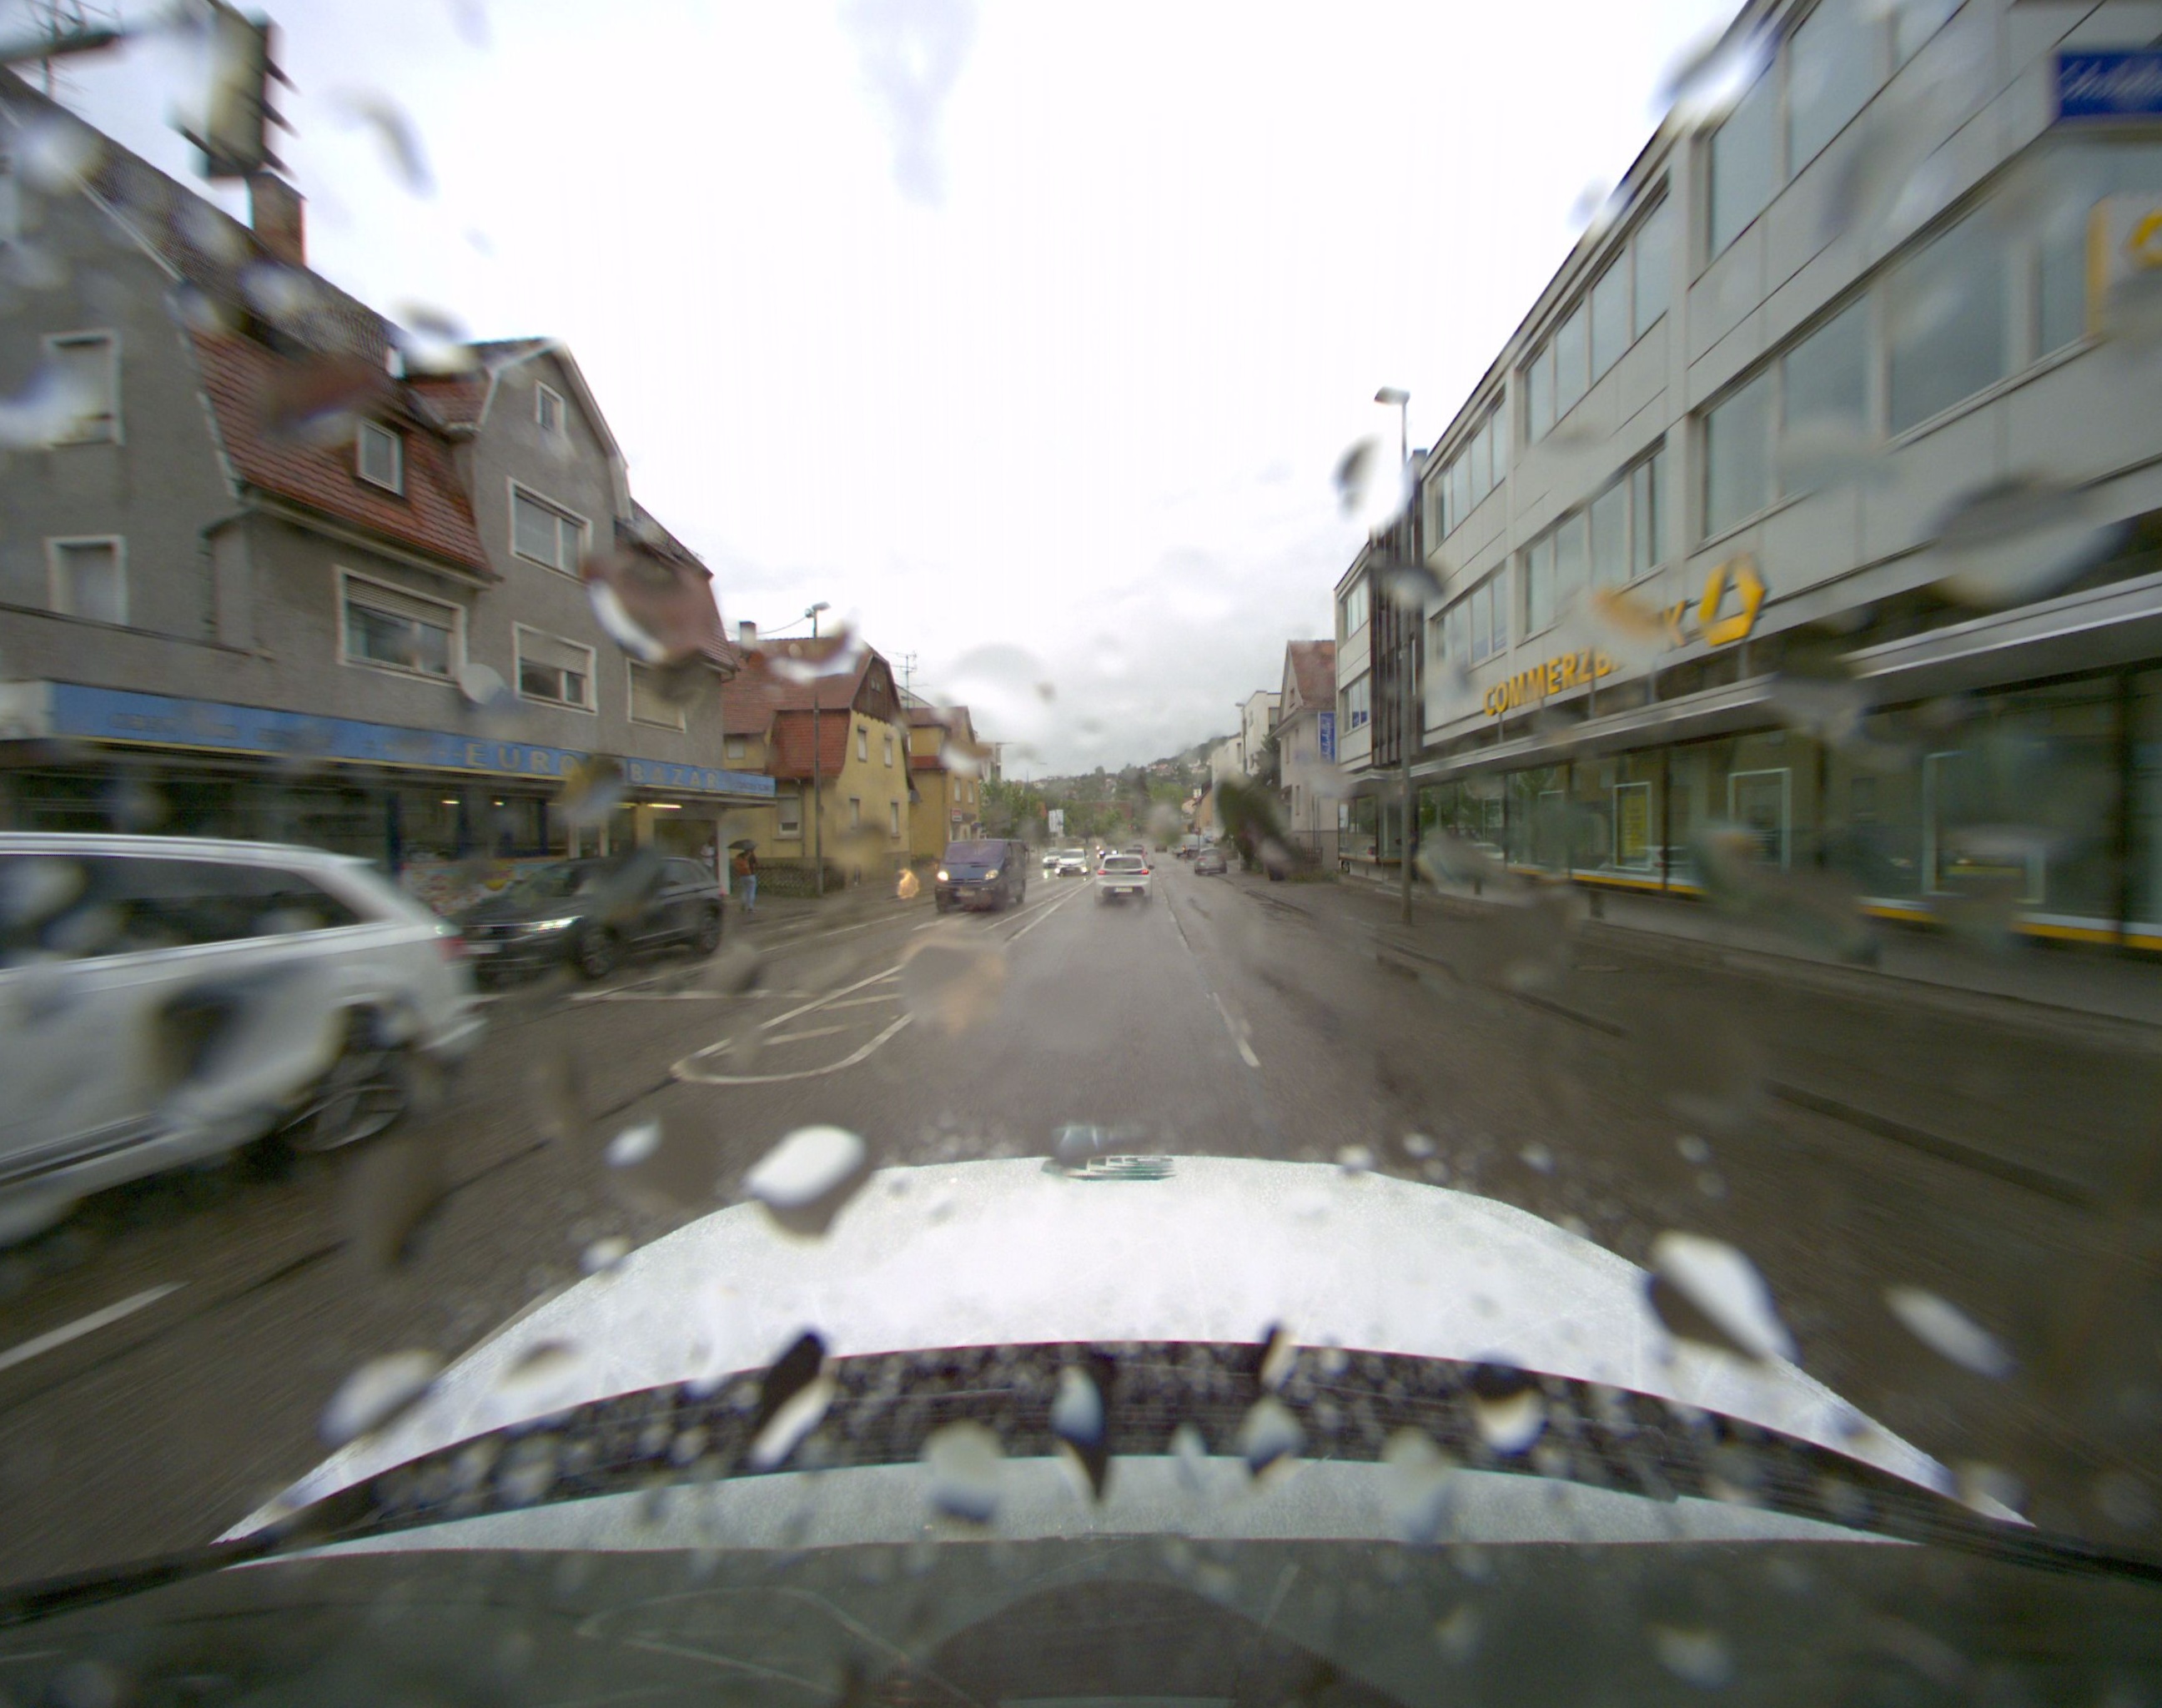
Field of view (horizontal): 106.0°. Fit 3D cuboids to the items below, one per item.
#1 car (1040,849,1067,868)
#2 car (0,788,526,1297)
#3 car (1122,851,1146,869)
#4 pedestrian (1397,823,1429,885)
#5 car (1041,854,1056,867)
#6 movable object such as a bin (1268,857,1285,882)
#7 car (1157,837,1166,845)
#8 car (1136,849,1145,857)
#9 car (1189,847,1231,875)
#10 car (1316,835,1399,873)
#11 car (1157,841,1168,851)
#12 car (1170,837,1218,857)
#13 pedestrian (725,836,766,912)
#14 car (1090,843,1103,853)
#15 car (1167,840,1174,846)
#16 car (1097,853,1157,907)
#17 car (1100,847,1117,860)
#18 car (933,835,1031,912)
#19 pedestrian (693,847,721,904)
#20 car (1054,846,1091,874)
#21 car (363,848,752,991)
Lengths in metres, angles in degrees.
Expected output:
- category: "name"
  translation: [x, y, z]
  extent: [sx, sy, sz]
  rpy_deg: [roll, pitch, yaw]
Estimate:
- category: "car"
  translation: [-2.215, 0.389, 67.043]
  extent: [1.641, 1.418, 4.144]
  rpy_deg: [-4, -1, 5]
- category: "car"
  translation: [-4.699, 0.659, 2.802]
  extent: [2.090, 1.712, 4.852]
  rpy_deg: [-1, -1, 2]
- category: "car"
  translation: [4.030, 0.414, 61.529]
  extent: [1.733, 1.295, 3.338]
  rpy_deg: [-1, 0, 4]
- category: "pedestrian"
  translation: [9.814, -0.003, 24.124]
  extent: [0.724, 1.780, 0.956]
  rpy_deg: [0, 1, 12]
- category: "car"
  translation: [-3.516, 0.738, 87.559]
  extent: [1.365, 1.314, 3.043]
  rpy_deg: [-1, -1, 2]
- category: "movable object such as a bin"
  translation: [8.618, 0.667, 35.893]
  extent: [0.573, 1.048, 0.831]
  rpy_deg: [-2, 1, 4]
- category: "car"
  translation: [19.752, -3.173, 200.114]
  extent: [1.984, 2.014, 4.005]
  rpy_deg: [-1, -1, 5]
- category: "car"
  translation: [8.638, -0.117, 118.969]
  extent: [1.208, 1.156, 2.271]
  rpy_deg: [-1, -1, 2]
- category: "car"
  translation: [7.775, 0.441, 49.521]
  extent: [2.003, 1.622, 4.362]
  rpy_deg: [0, -2, 2]
- category: "car"
  translation: [11.941, 0.036, 35.342]
  extent: [1.359, 1.502, 3.308]
  rpy_deg: [-4, 1, -29]
- category: "car"
  translation: [13.205, -1.248, 132.142]
  extent: [1.726, 1.387, 3.357]
  rpy_deg: [0, 4, 3]
- category: "car"
  translation: [13.981, -0.842, 100.289]
  extent: [6.663, 2.382, 2.270]
  rpy_deg: [-1, -1, -44]
- category: "pedestrian"
  translation: [-8.715, 0.520, 21.177]
  extent: [0.659, 1.921, 0.945]
  rpy_deg: [1, -1, -4]
- category: "car"
  translation: [2.559, -0.964, 134.002]
  extent: [1.872, 1.524, 4.189]
  rpy_deg: [-1, -1, 4]
- category: "car"
  translation: [19.506, -2.383, 178.105]
  extent: [1.378, 1.126, 2.613]
  rpy_deg: [-1, -1, 5]
- category: "car"
  translation: [1.415, 0.775, 25.139]
  extent: [1.684, 1.519, 3.936]
  rpy_deg: [-1, -1, 3]
- category: "car"
  translation: [3.224, 0.008, 95.057]
  extent: [1.760, 1.413, 4.530]
  rpy_deg: [-1, -1, 4]
- category: "car"
  translation: [-2.700, 0.535, 23.564]
  extent: [1.958, 1.938, 5.182]
  rpy_deg: [-1, -1, 2]
- category: "pedestrian"
  translation: [-10.366, 0.586, 22.574]
  extent: [0.540, 1.557, 0.447]
  rpy_deg: [-1, -1, 4]
- category: "car"
  translation: [-0.471, 0.372, 49.492]
  extent: [1.870, 1.609, 4.724]
  rpy_deg: [-1, -1, 4]
- category: "car"
  translation: [-7.083, 0.791, 11.880]
  extent: [1.990, 1.618, 4.958]
  rpy_deg: [-2, -1, 8]
